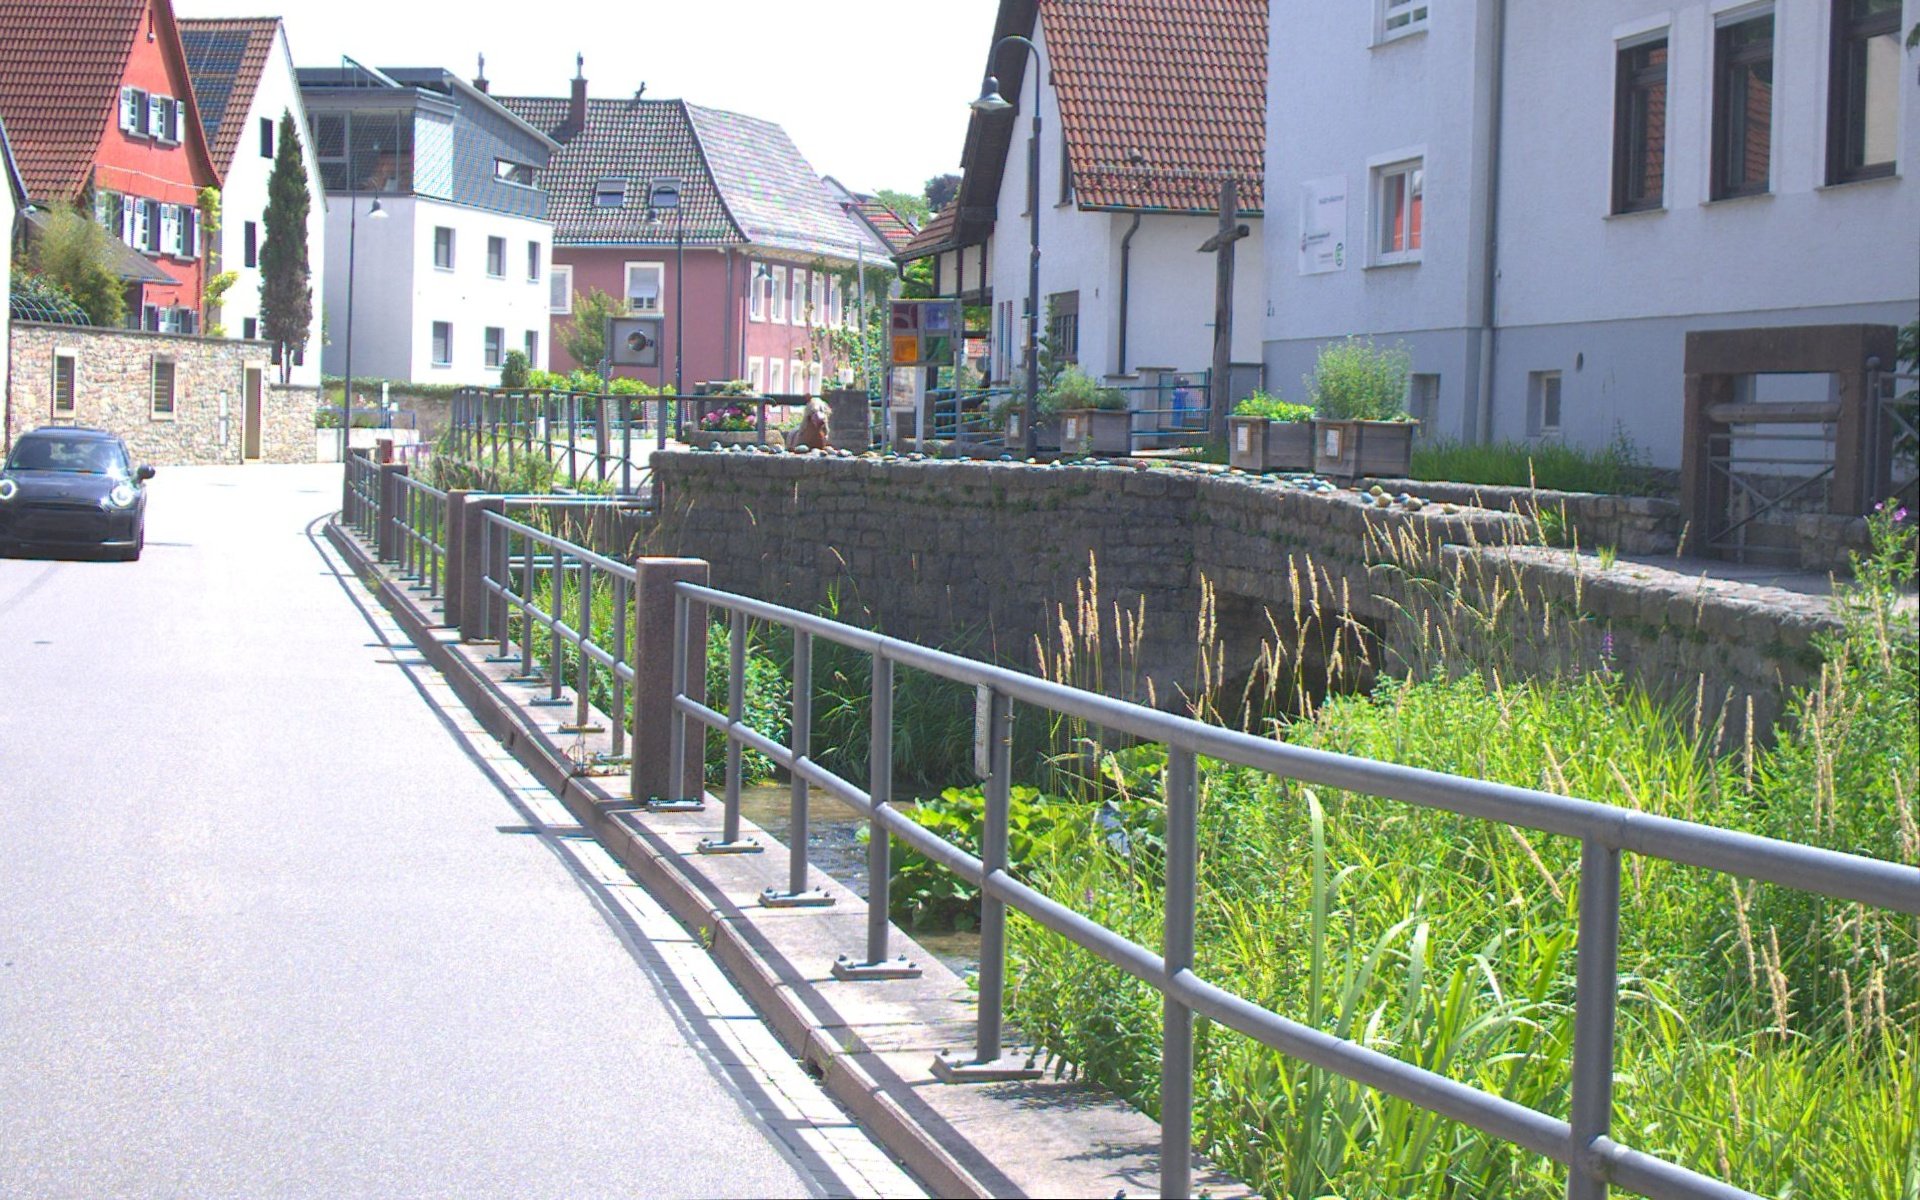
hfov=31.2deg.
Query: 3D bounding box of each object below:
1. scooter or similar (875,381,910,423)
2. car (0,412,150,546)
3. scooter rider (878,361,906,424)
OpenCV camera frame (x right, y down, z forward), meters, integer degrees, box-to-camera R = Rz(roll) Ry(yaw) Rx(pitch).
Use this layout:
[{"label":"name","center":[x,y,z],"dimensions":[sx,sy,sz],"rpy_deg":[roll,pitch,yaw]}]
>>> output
[{"label":"scooter or similar","center":[-1.895,-5.503,95.719],"dimensions":[0.641,1.138,1.812],"rpy_deg":[0,3,-12]},{"label":"car","center":[-10.305,-1.419,40.005],"dimensions":[1.698,1.460,4.437],"rpy_deg":[0,2,-13]},{"label":"scooter rider","center":[-1.891,-5.780,95.686],"dimensions":[0.641,1.725,0.554],"rpy_deg":[2,2,-12]}]
